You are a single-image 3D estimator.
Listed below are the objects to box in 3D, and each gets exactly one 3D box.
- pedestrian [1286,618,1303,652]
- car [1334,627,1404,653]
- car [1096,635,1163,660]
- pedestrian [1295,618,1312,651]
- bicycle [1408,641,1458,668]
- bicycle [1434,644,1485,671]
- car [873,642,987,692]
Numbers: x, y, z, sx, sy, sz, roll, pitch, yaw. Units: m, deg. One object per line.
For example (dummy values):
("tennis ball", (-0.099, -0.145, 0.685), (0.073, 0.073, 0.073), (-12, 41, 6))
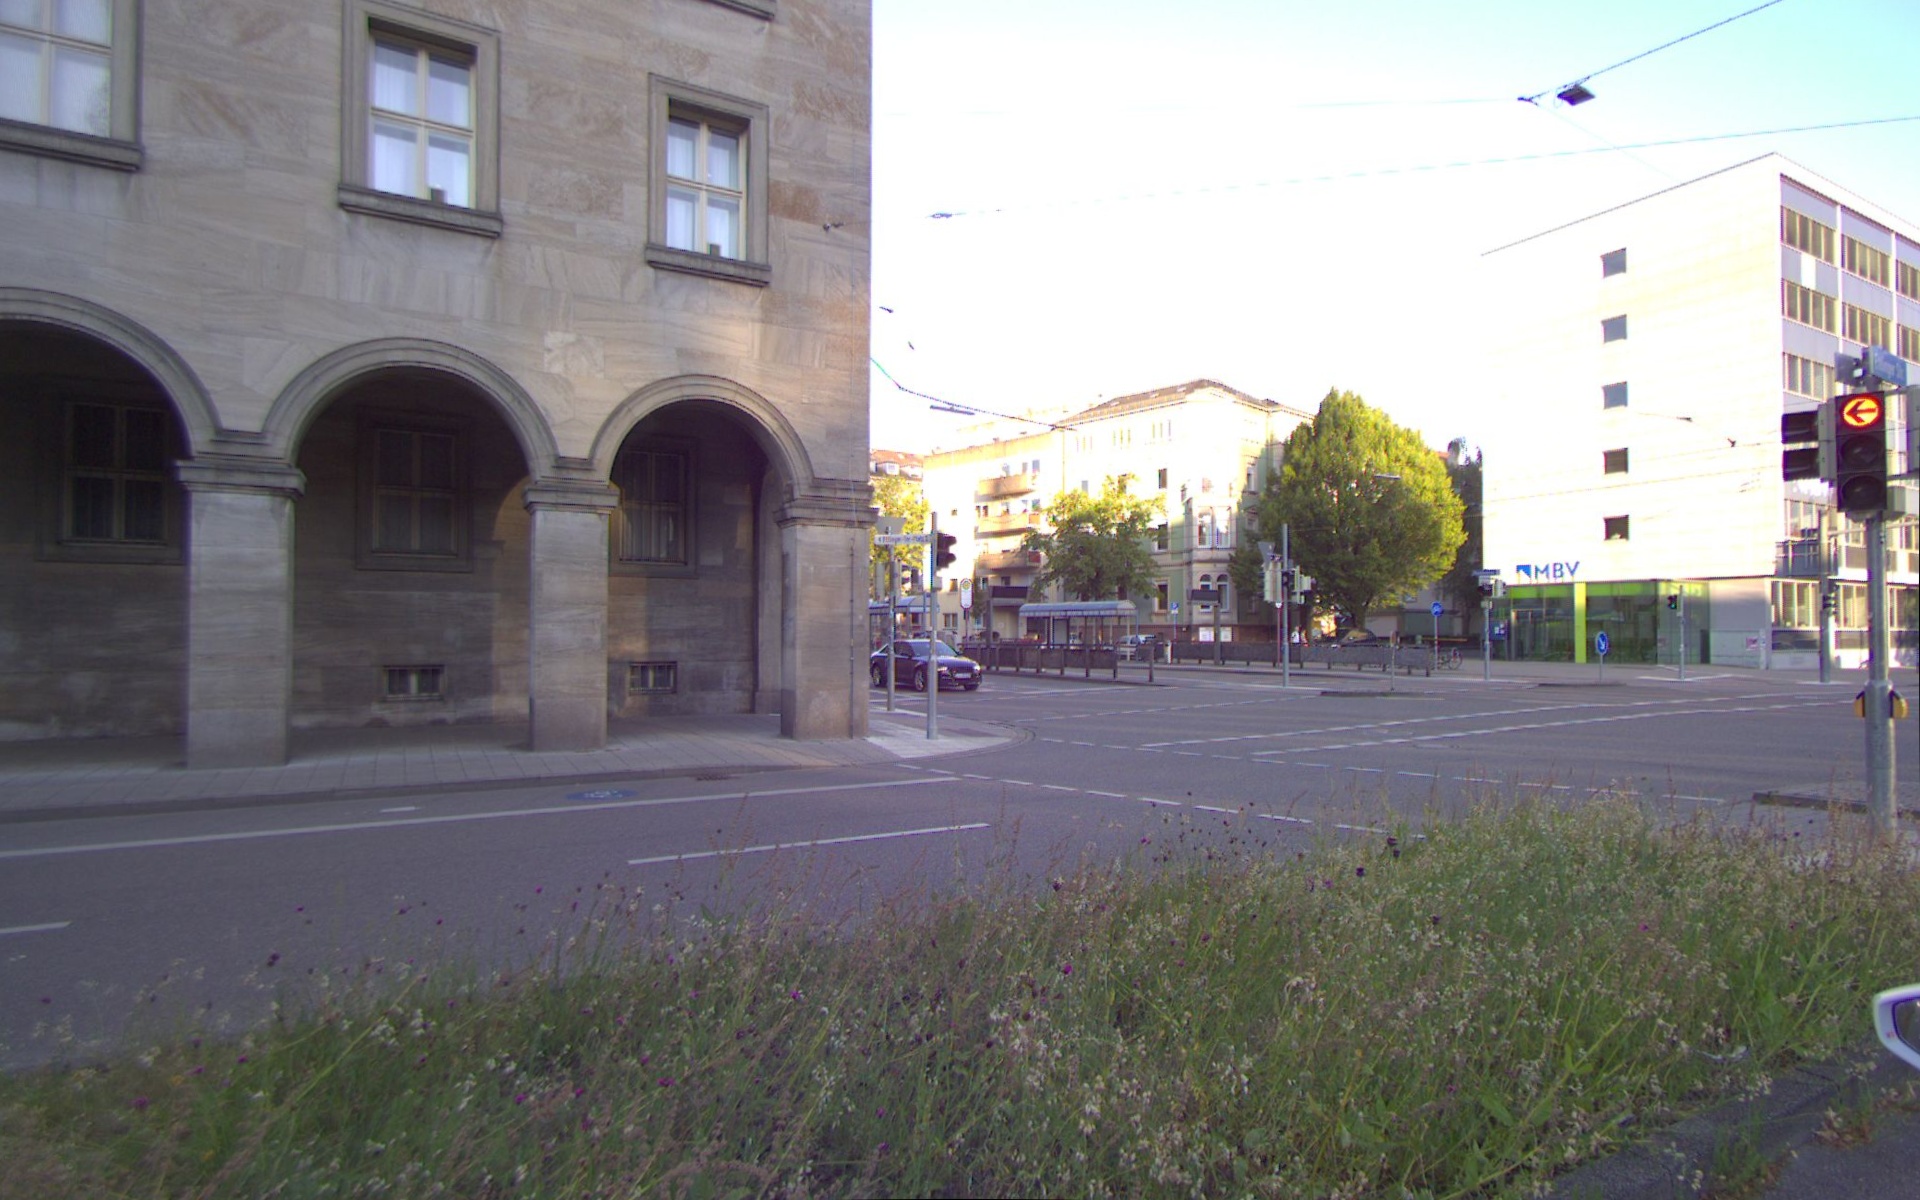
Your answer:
("pedestrian", (18.298, 1.909, 54.998), (0.718, 1.813, 0.634), (2, -2, -44))
("car", (22.322, 2.185, 54.788), (3.553, 1.390, 1.826), (1, -2, -32))
("car", (9.980, 2.778, 59.234), (3.545, 1.390, 1.830), (-2, -3, 45))
("pedestrian", (18.925, 1.915, 55.360), (0.718, 1.813, 0.634), (2, -2, -43))
("bicycle", (21.018, 2.413, 44.654), (2.183, 1.127, 0.834), (1, -2, -26))
("bicycle", (21.637, 2.474, 43.508), (2.183, 1.127, 0.834), (1, -2, -26))
("car", (-0.964, 1.930, 29.695), (1.791, 1.344, 4.120), (1, -2, -27))
